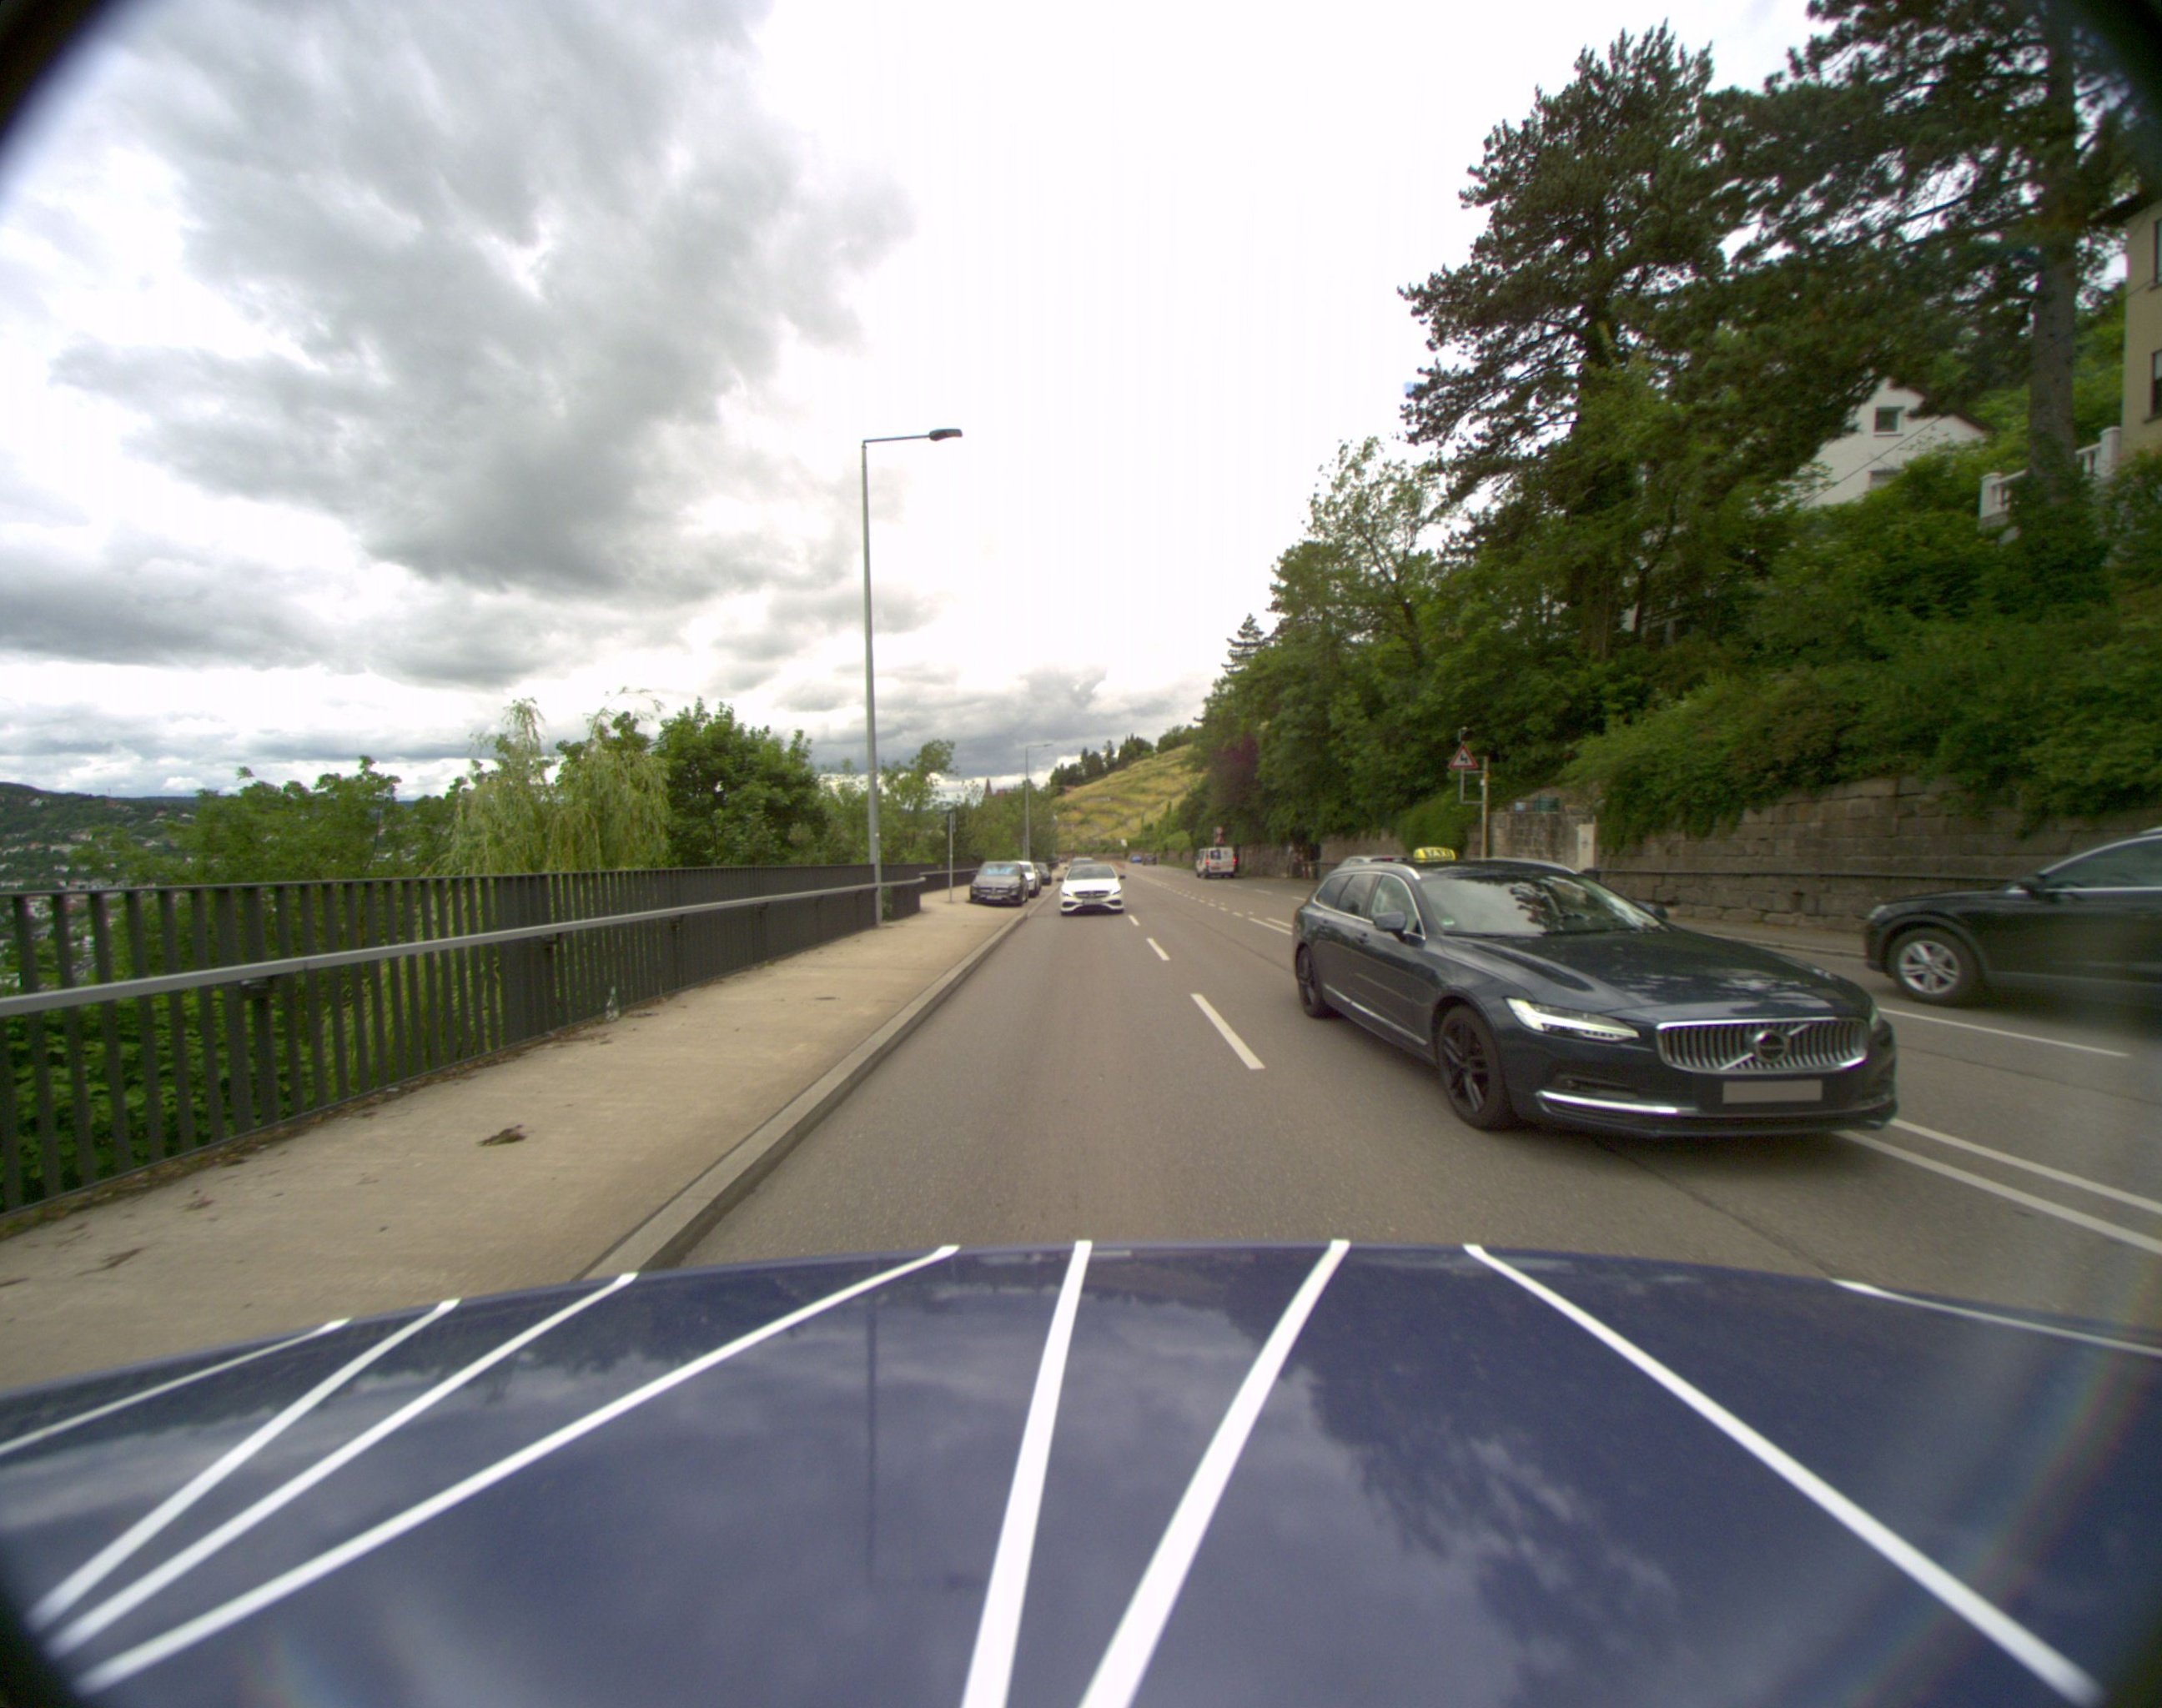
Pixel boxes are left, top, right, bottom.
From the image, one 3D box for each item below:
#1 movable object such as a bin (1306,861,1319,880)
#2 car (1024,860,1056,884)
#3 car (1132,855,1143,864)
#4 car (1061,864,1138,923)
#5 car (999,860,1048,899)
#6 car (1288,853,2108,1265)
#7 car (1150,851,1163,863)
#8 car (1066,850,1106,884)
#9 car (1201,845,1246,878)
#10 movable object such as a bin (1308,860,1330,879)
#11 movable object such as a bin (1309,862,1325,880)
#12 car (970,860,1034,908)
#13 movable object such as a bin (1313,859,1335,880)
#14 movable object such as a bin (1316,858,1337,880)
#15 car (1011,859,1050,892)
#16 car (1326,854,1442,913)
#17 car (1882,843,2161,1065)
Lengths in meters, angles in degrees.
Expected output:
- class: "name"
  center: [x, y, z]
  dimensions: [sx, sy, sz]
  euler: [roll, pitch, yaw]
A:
- class: "movable object such as a bin"
  center: [12.370, 0.874, 40.687]
  dimensions: [0.518, 0.960, 0.474]
  euler: [-2, 0, -3]
- class: "car"
  center: [-2.557, 1.136, 48.248]
  dimensions: [1.828, 1.393, 4.319]
  euler: [1, 0, -1]
- class: "car"
  center: [9.586, 0.947, 128.721]
  dimensions: [1.587, 1.452, 3.524]
  euler: [-1, 0, 2]
- class: "car"
  center: [0.422, 1.073, 21.892]
  dimensions: [1.903, 1.418, 4.265]
  euler: [-3, -1, -2]
- class: "car"
  center: [-2.467, 1.062, 33.514]
  dimensions: [1.731, 1.559, 4.624]
  euler: [0, 0, 0]
- class: "car"
  center: [3.164, 0.827, 5.568]
  dimensions: [1.939, 1.567, 5.027]
  euler: [-3, 0, 1]
- class: "car"
  center: [10.988, 0.383, 110.858]
  dimensions: [1.819, 1.687, 4.471]
  euler: [-2, 0, 6]
- class: "car"
  center: [0.300, 0.660, 41.054]
  dimensions: [1.998, 1.580, 4.000]
  euler: [-3, 0, 1]
- class: "car"
  center: [9.250, 0.490, 49.758]
  dimensions: [1.926, 1.993, 5.356]
  euler: [-2, 0, 1]
- class: "movable object such as a bin"
  center: [12.393, 0.797, 39.534]
  dimensions: [0.919, 0.940, 0.594]
  euler: [-2, 0, -3]
- class: "movable object such as a bin"
  center: [12.462, 0.902, 40.138]
  dimensions: [0.675, 0.960, 0.543]
  euler: [-2, 0, -3]
- class: "car"
  center: [-2.764, 1.008, 27.401]
  dimensions: [1.761, 1.535, 4.427]
  euler: [1, 0, 0]
- class: "movable object such as a bin"
  center: [12.441, 0.777, 38.858]
  dimensions: [0.901, 1.028, 0.621]
  euler: [-2, 0, -3]
- class: "movable object such as a bin"
  center: [12.331, 0.739, 38.153]
  dimensions: [0.774, 1.055, 0.718]
  euler: [-2, 0, -3]
- class: "car"
  center: [-2.530, 1.063, 39.116]
  dimensions: [1.663, 1.563, 4.255]
  euler: [1, 0, 0]
- class: "car"
  center: [8.754, 0.788, 22.372]
  dimensions: [1.680, 1.434, 4.233]
  euler: [-3, 0, 0]
- class: "car"
  center: [8.590, 0.701, 5.119]
  dimensions: [1.946, 1.540, 4.248]
  euler: [-1, 0, 1]
